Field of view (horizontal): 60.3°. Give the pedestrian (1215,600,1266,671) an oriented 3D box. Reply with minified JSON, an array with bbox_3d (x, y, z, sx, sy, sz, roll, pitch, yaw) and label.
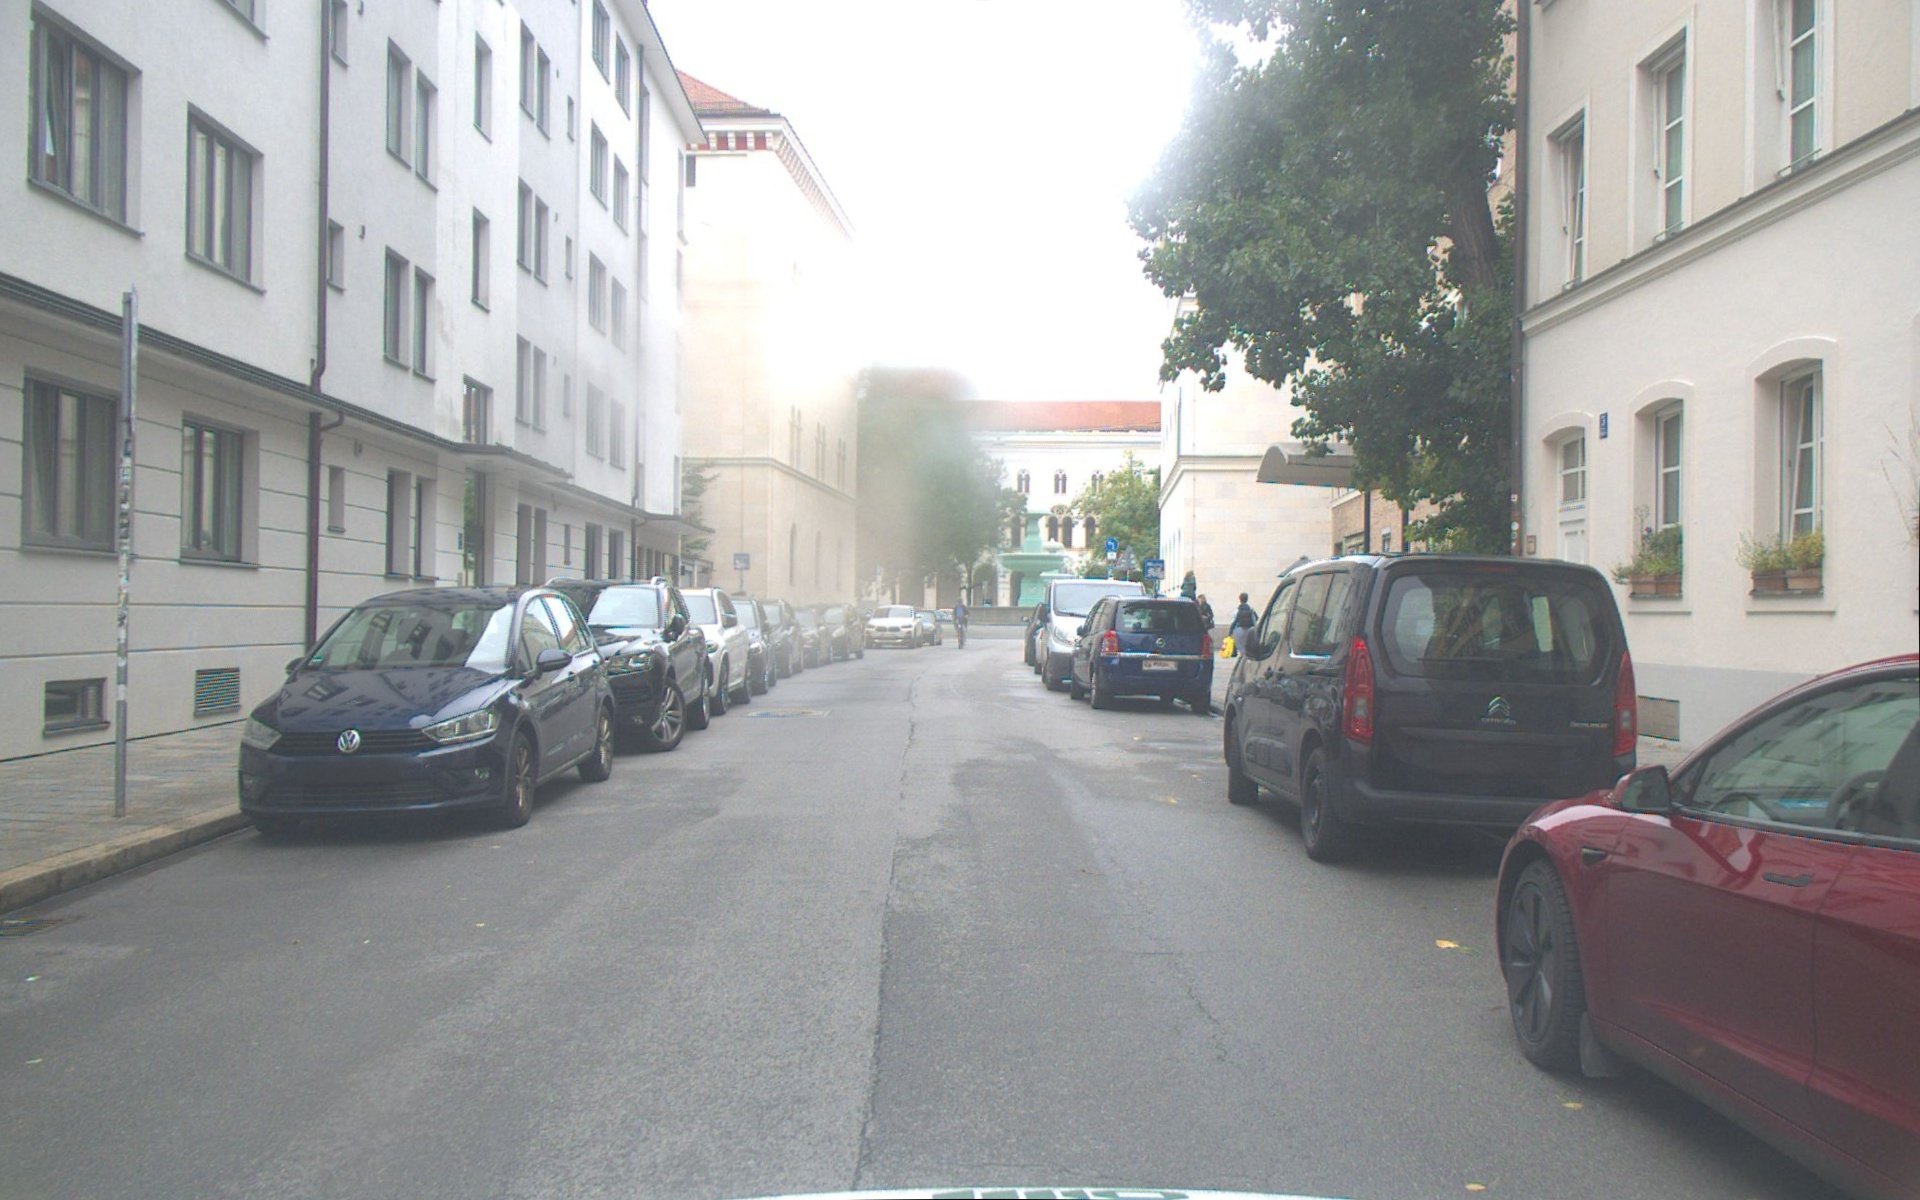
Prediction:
[{"bbox_3d":[6.331,0.799,37.386,0.934,1.574,0.671,0,0,-17],"label":"pedestrian"}]

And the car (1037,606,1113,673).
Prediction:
[{"bbox_3d":[2.610,0.868,38.222,1.638,1.442,4.203,1,0,3],"label":"car"}]

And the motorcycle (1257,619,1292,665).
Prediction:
[{"bbox_3d":[7.650,1.009,40.284,0.478,1.072,1.924,0,0,0],"label":"motorcycle"}]

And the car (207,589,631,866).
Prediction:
[{"bbox_3d":[-3.632,0.746,11.938,1.737,1.566,4.158,-2,1,-1],"label":"car"}]

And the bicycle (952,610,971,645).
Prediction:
[{"bbox_3d":[0.055,0.989,59.574,0.635,1.218,1.950,-1,0,2],"label":"bicycle"}]

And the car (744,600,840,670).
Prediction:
[{"bbox_3d":[-4.003,0.805,40.044,1.714,1.479,4.017,-2,1,2],"label":"car"}]

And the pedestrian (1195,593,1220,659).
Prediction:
[{"bbox_3d":[6.308,0.649,42.168,0.575,1.661,0.877,0,0,4],"label":"pedestrian"}]

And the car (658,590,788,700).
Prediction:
[{"bbox_3d":[-4.067,0.717,28.986,1.835,1.687,4.587,-2,1,-4],"label":"car"}]

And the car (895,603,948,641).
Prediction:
[{"bbox_3d":[-1.509,0.873,66.427,1.663,1.417,4.214,-2,-1,5],"label":"car"}]

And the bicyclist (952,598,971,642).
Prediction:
[{"bbox_3d":[0.057,0.730,59.675,0.643,1.578,0.888,-1,-1,2],"label":"bicyclist"}]

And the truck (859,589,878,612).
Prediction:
[{"bbox_3d":[-10.217,0.061,184.517,1.955,2.532,3.995,1,0,-6],"label":"truck"}]

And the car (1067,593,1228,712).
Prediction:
[{"bbox_3d":[2.716,0.717,24.889,1.771,1.628,4.213,1,0,-2],"label":"car"}]

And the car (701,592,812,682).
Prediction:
[{"bbox_3d":[-4.185,0.715,34.611,1.834,1.687,4.079,-2,1,-1],"label":"car"}]

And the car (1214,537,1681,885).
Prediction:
[{"bbox_3d":[2.940,0.604,10.965,1.809,1.807,4.200,2,0,0],"label":"car"}]

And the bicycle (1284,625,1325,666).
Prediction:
[{"bbox_3d":[7.457,0.971,35.850,0.506,0.832,1.432,-1,0,-4],"label":"bicycle"}]

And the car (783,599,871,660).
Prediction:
[{"bbox_3d":[-3.545,0.760,44.802,1.713,1.479,4.018,-2,1,5],"label":"car"}]

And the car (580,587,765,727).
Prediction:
[{"bbox_3d":[-3.889,0.698,23.086,1.834,1.687,4.589,-2,1,-1],"label":"car"}]

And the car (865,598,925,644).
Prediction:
[{"bbox_3d":[-2.320,0.777,60.075,1.741,1.561,4.213,-2,-1,3],"label":"car"}]

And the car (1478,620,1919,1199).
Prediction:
[{"bbox_3d":[2.804,0.801,3.830,1.679,1.449,4.456,0,0,-2],"label":"car"}]

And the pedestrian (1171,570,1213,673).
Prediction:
[{"bbox_3d":[5.099,0.476,36.386,0.777,2.236,0.813,0,0,-1],"label":"pedestrian"}]

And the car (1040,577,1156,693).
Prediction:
[{"bbox_3d":[2.468,0.587,30.595,1.843,1.958,4.875,0,0,1],"label":"car"}]

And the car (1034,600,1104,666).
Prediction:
[{"bbox_3d":[2.779,0.813,42.838,1.711,1.621,3.957,1,0,2],"label":"car"}]

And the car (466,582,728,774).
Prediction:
[{"bbox_3d":[-3.683,0.696,17.594,1.834,1.717,4.519,-2,1,-1],"label":"car"}]
